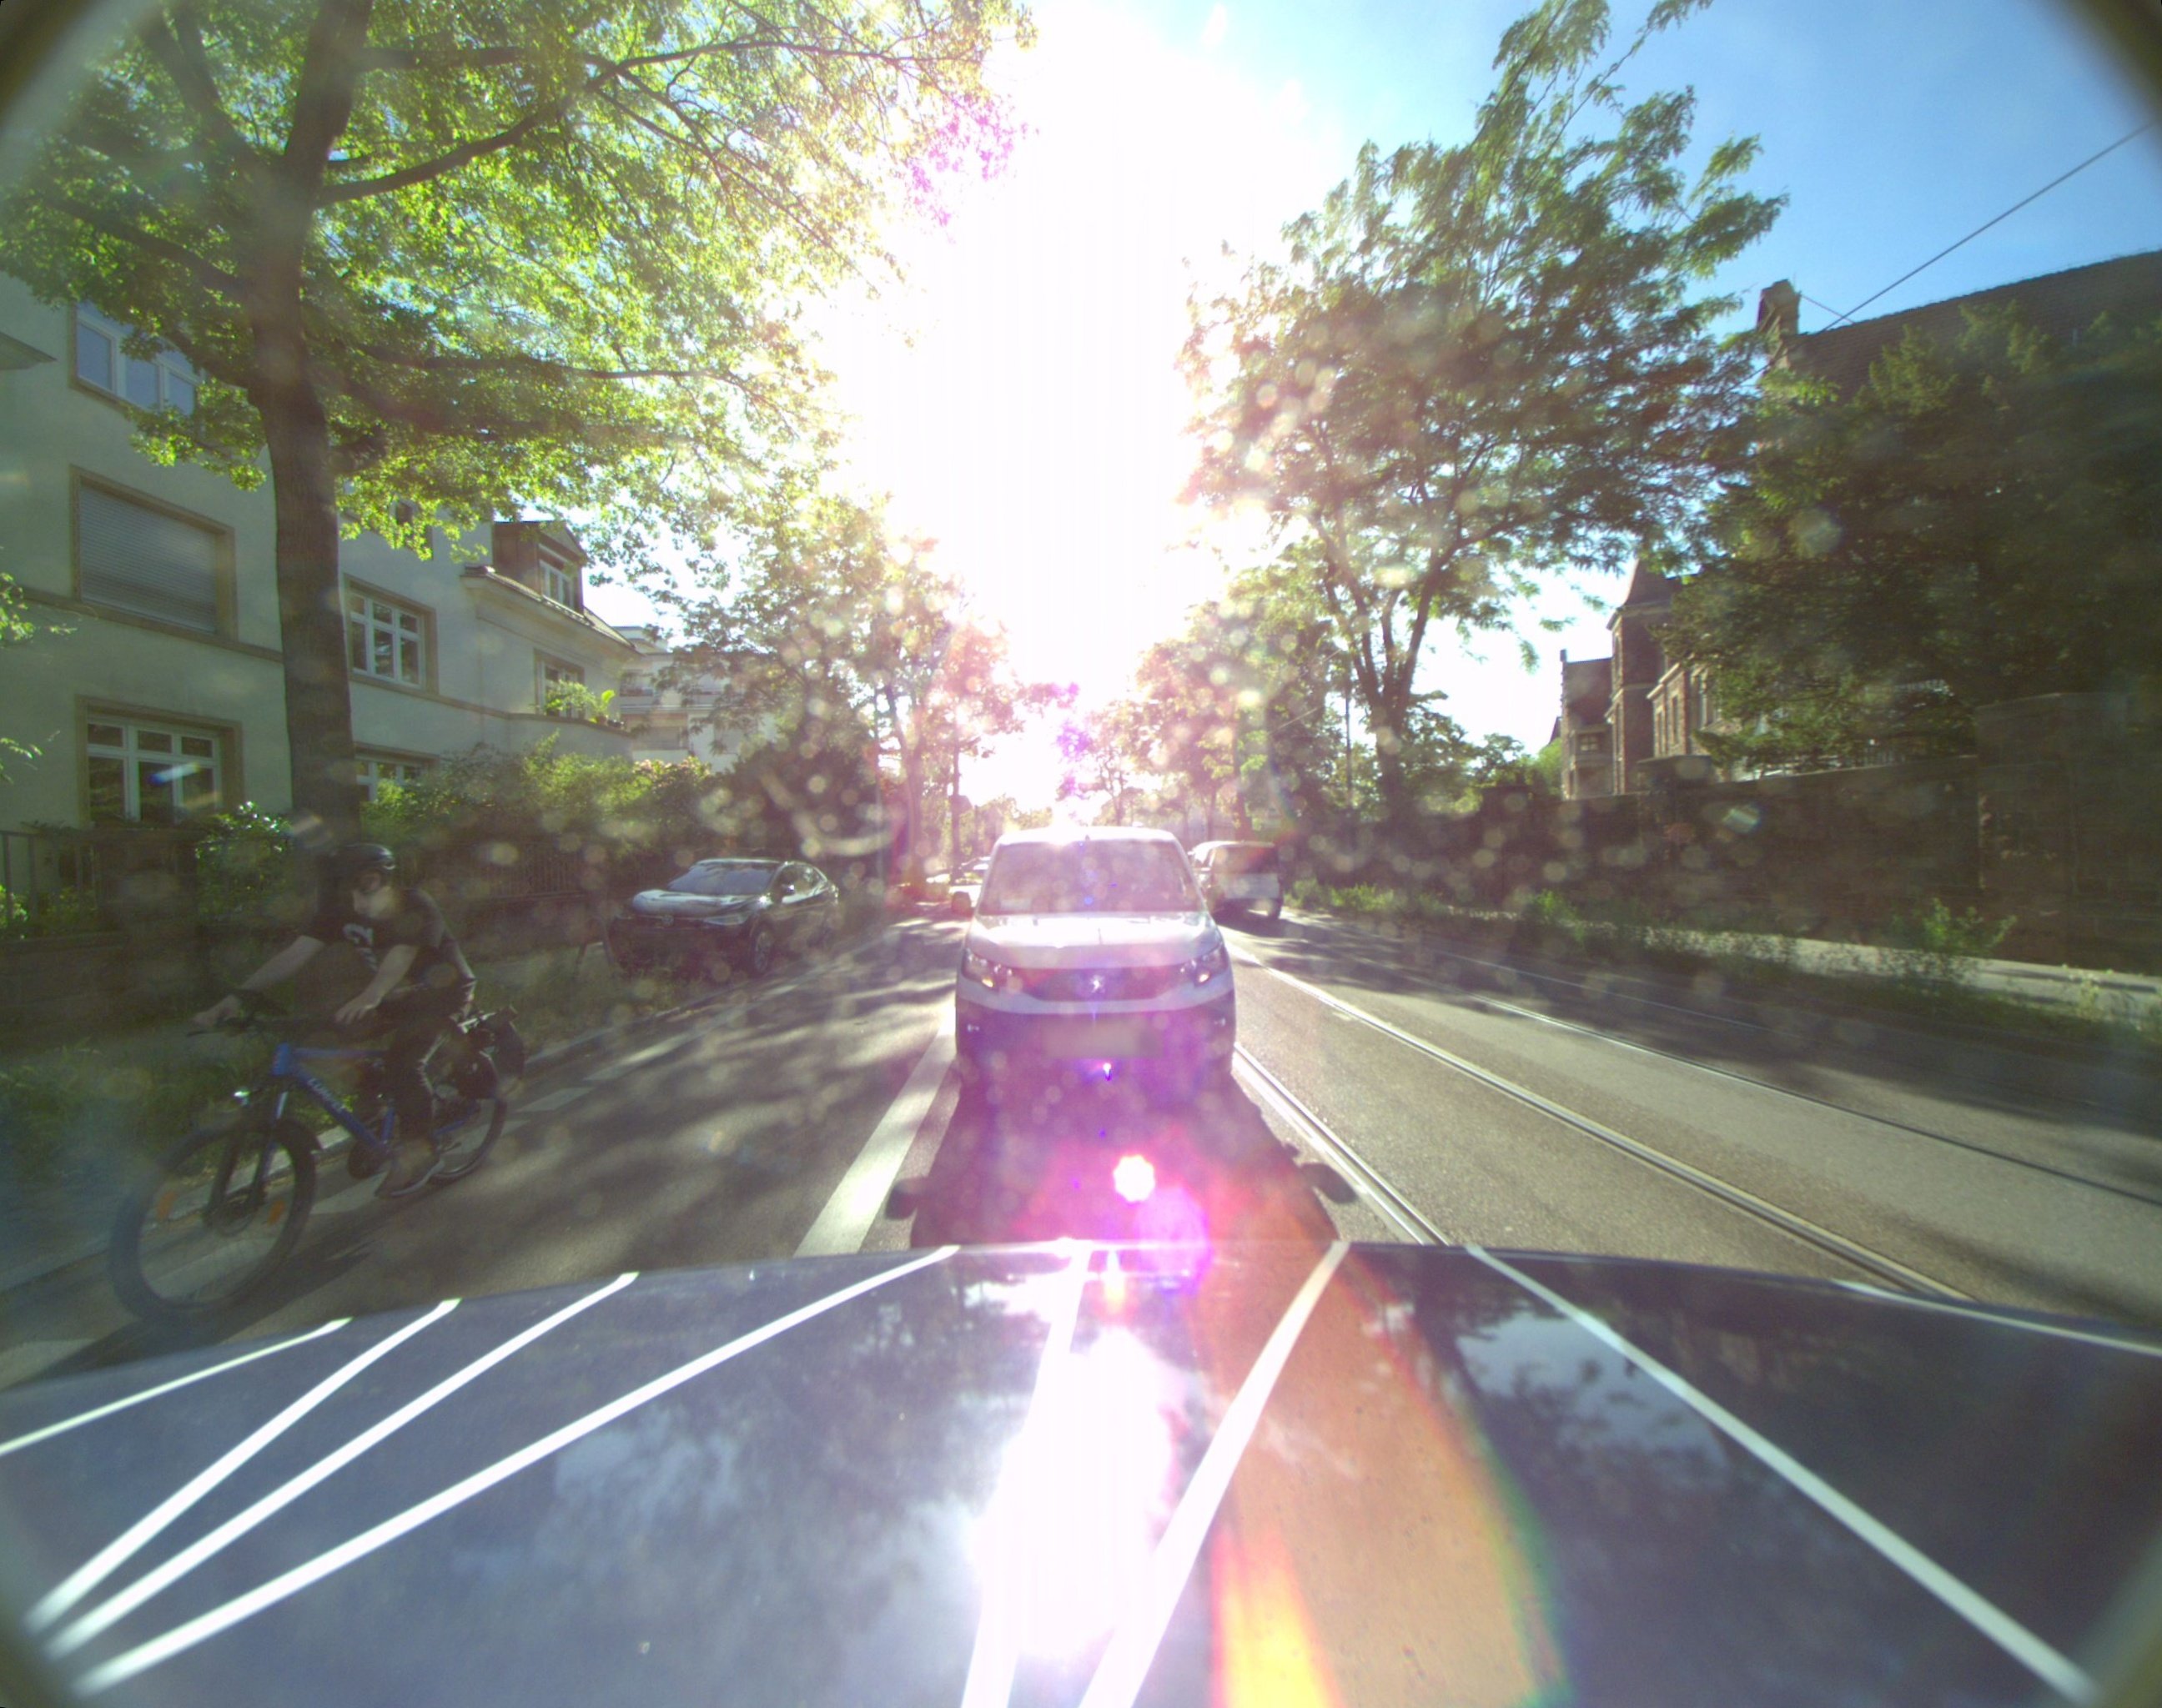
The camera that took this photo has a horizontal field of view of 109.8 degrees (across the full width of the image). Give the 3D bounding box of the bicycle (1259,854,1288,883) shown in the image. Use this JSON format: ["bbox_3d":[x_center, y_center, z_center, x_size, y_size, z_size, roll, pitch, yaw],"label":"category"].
[{"bbox_3d":[7.618,0.568,30.144,0.684,1.072,1.736,-2,1,1],"label":"bicycle"}]

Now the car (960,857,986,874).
[{"bbox_3d":[-9.985,1.031,70.645,1.741,1.434,3.999,-2,1,1],"label":"car"}]

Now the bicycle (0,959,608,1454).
[{"bbox_3d":[-3.179,1.208,3.311,0.831,1.148,2.094,-3,1,1],"label":"bicycle"}]

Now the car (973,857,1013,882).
[{"bbox_3d":[-5.170,0.888,45.290,1.719,1.332,3.918,-2,1,3],"label":"car"}]

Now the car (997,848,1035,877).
[{"bbox_3d":[-4.385,0.532,51.657,1.904,1.819,4.248,-2,1,3],"label":"car"}]

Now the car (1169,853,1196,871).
[{"bbox_3d":[8.643,0.661,65.026,1.741,1.434,3.999,-2,1,1],"label":"car"}]

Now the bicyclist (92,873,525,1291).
[{"bbox_3d":[-3.196,0.862,3.275,0.823,1.493,0.934,-2,1,1],"label":"bicyclist"}]

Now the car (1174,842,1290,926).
[{"bbox_3d":[3.580,0.641,18.798,1.832,1.800,3.998,-1,1,-3],"label":"car"}]

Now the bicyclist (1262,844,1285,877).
[{"bbox_3d":[7.603,0.239,30.038,0.684,1.277,0.871,-2,1,1],"label":"bicyclist"}]

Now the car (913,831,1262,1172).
[{"bbox_3d":[0.003,0.772,6.260,1.832,1.788,4.333,-2,1,-1],"label":"car"}]

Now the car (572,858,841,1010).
[{"bbox_3d":[-5.267,1.000,11.451,1.999,1.733,4.169,-2,1,-2],"label":"car"}]
